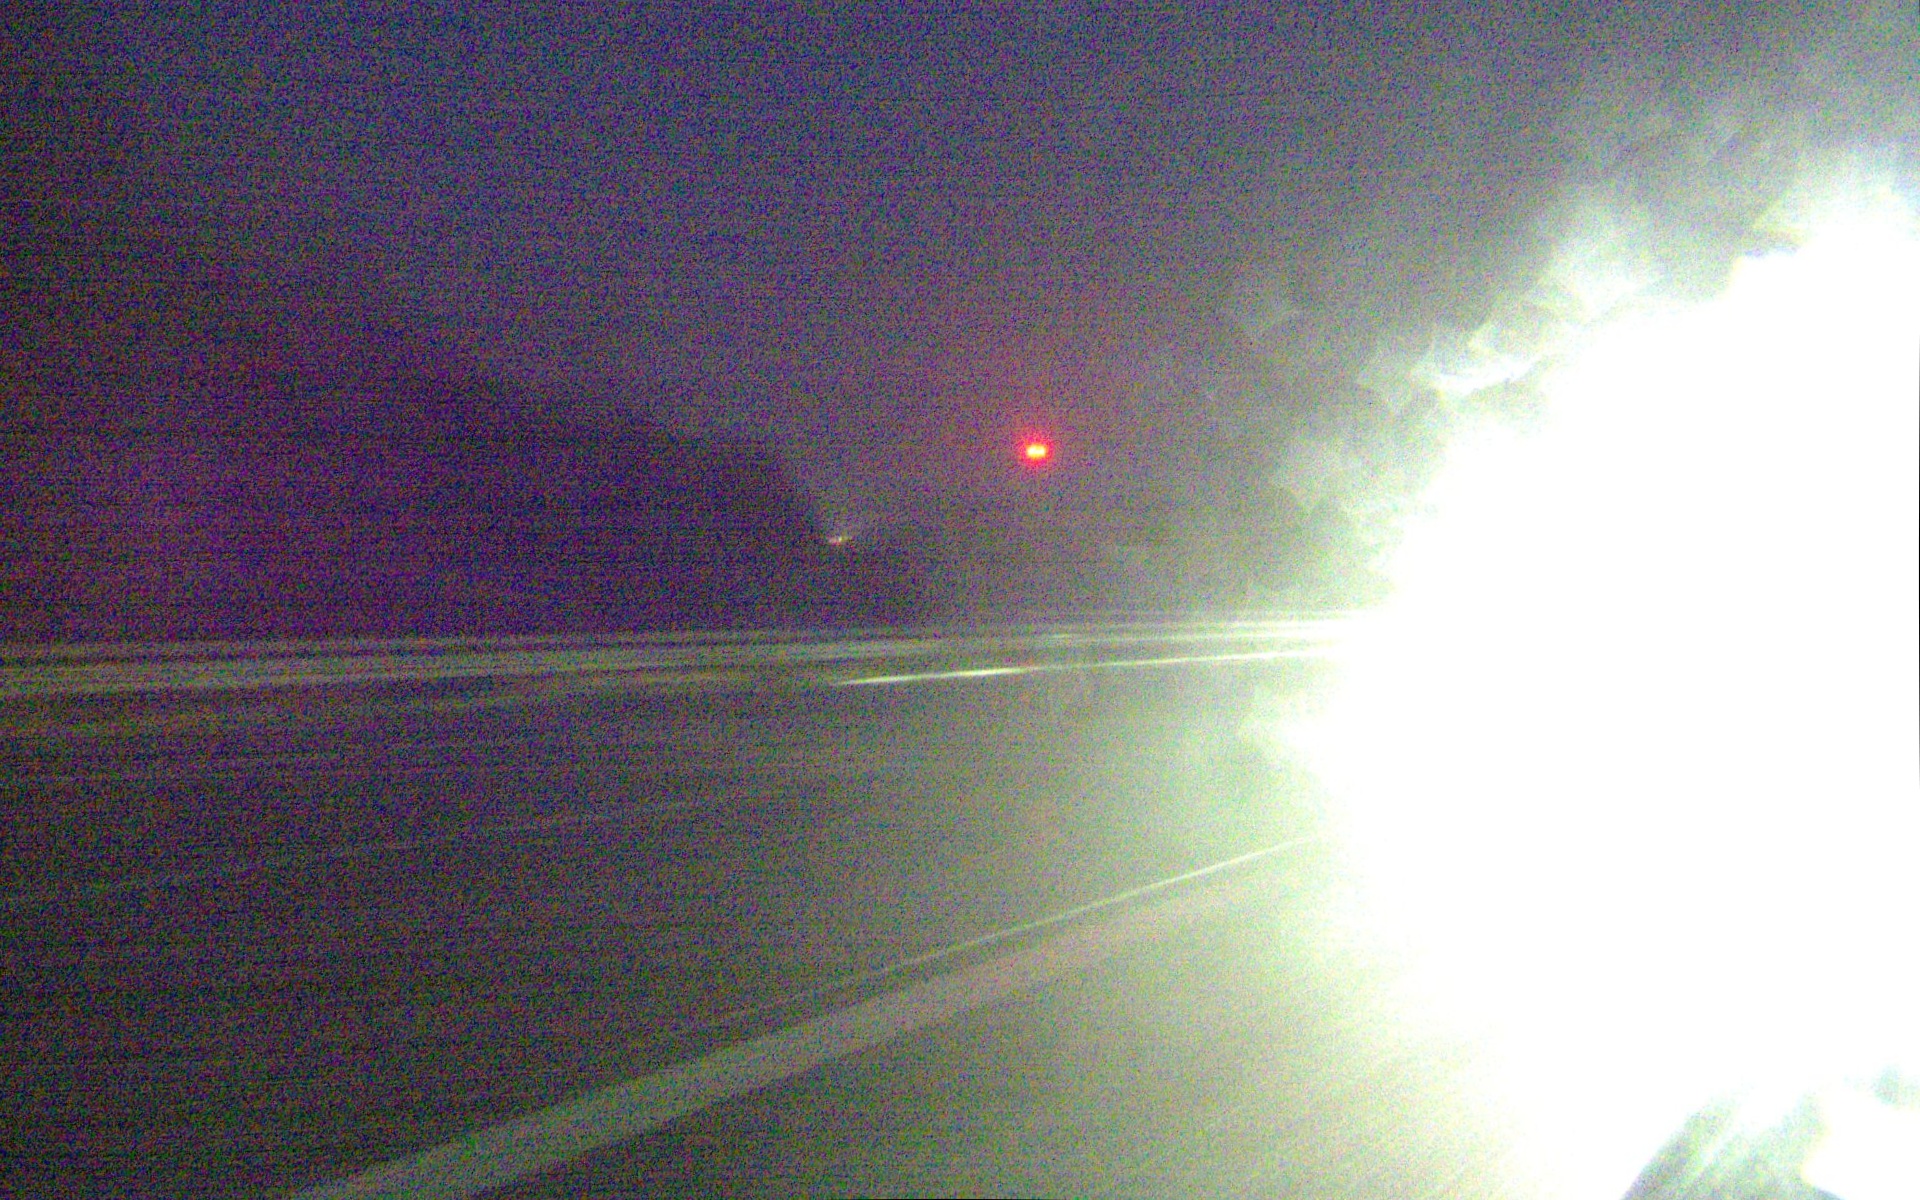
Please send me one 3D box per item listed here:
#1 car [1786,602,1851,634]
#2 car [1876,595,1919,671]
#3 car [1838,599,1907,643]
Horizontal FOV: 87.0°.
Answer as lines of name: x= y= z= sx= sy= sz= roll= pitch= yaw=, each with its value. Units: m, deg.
car: x=46.741 y=0.924 z=55.066 sx=4.571 sy=1.619 sz=1.997 roll=-1 pitch=0 yaw=-41
car: x=23.037 y=0.724 z=23.671 sx=4.832 sy=1.686 sz=1.957 roll=0 pitch=0 yaw=-43
car: x=37.920 y=0.824 z=42.031 sx=3.932 sy=1.712 sz=1.790 roll=-1 pitch=0 yaw=-43
